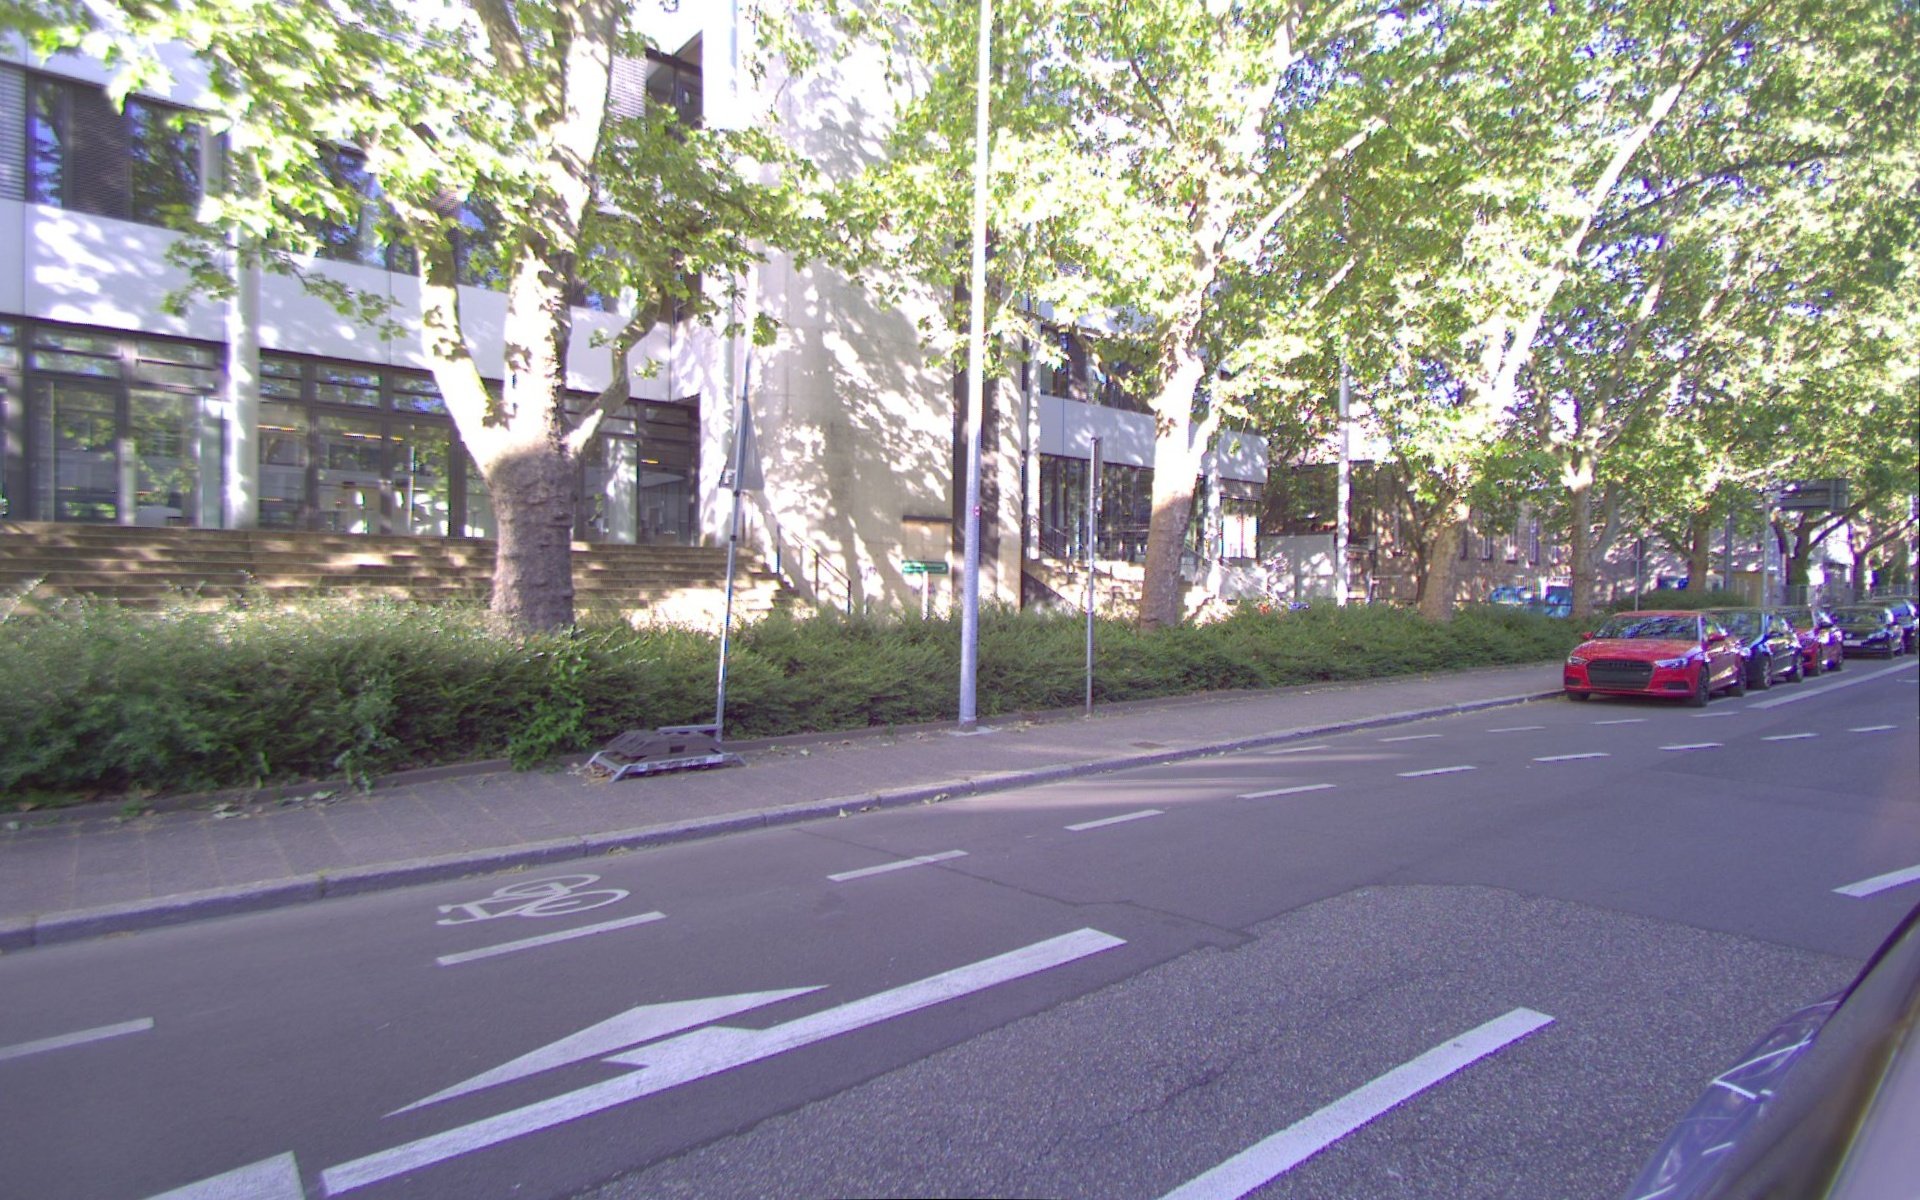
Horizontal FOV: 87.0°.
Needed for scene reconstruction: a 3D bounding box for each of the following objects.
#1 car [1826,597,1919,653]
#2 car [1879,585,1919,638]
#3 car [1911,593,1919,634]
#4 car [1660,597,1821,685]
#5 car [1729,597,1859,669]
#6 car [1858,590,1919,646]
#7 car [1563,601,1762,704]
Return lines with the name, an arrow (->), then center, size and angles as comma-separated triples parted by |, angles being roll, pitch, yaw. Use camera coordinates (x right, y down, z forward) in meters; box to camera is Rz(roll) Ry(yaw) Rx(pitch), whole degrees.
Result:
car -> 26.020, 0.652, 28.699 | 3.930, 1.469, 1.684 | 0, 1, -41
car -> 33.976, 0.388, 35.707 | 4.354, 1.790, 1.818 | 0, 1, -41
car -> 38.713, 0.508, 39.724 | 3.801, 1.581, 1.684 | 0, 1, -41
car -> 14.816, 0.702, 19.145 | 3.930, 1.485, 1.684 | 0, 0, -41
car -> 18.617, 0.673, 22.539 | 3.715, 1.452, 1.664 | 0, 1, -41
car -> 29.521, 0.521, 31.652 | 3.770, 1.640, 1.684 | 0, 1, -41
car -> 11.251, 0.753, 16.118 | 3.962, 1.439, 1.722 | 0, -2, -42
